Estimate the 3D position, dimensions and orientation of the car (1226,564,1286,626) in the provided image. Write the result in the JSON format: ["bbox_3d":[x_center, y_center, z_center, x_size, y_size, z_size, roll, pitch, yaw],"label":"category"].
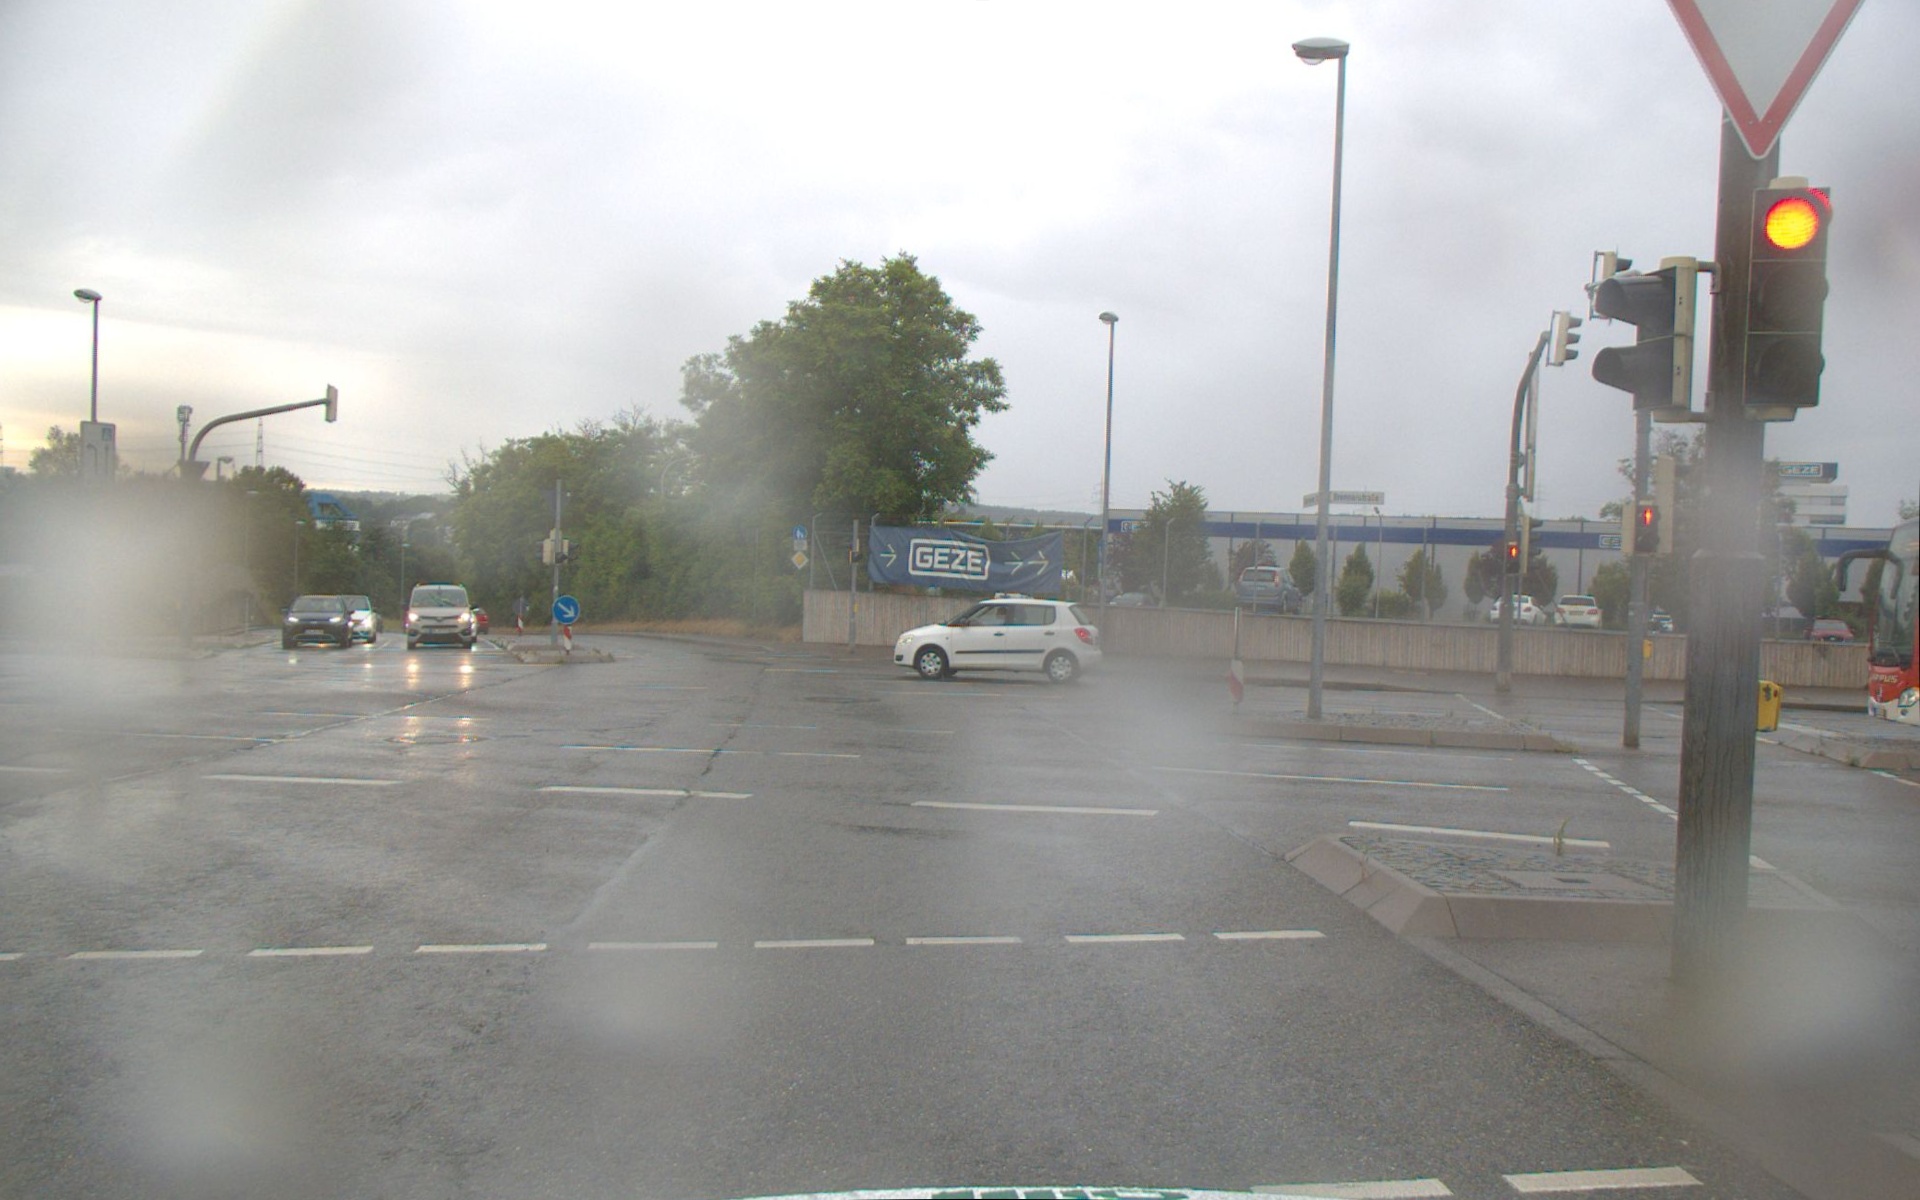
[{"bbox_3d":[10.402,-0.192,58.036,1.951,2.049,4.003,2,0,11],"label":"car"}]

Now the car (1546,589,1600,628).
[{"bbox_3d":[25.266,0.314,68.251,1.952,1.504,4.002,2,1,19],"label":"car"}]

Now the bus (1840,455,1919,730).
[{"bbox_3d":[17.778,0.176,20.073,12.020,3.379,3.076,3,1,17],"label":"bus"}]

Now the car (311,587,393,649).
[{"bbox_3d":[-20.292,0.559,55.345,1.959,1.928,3.988,1,1,-12],"label":"car"}]

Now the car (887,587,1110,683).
[{"bbox_3d":[0.765,0.618,31.044,3.902,1.624,1.959,2,1,9],"label":"car"}]

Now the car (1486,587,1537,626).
[{"bbox_3d":[22.969,0.243,68.840,1.952,1.504,4.001,2,1,19],"label":"car"}]

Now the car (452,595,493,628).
[{"bbox_3d":[-25.681,0.600,87.075,1.593,1.474,3.781,2,1,-23],"label":"car"}]

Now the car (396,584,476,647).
[{"bbox_3d":[-14.973,0.414,47.457,1.961,1.646,3.984,1,1,-15],"label":"car"}]

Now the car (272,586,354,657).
[{"bbox_3d":[-18.716,0.580,47.984,1.963,1.928,3.979,2,0,-19],"label":"car"}]
